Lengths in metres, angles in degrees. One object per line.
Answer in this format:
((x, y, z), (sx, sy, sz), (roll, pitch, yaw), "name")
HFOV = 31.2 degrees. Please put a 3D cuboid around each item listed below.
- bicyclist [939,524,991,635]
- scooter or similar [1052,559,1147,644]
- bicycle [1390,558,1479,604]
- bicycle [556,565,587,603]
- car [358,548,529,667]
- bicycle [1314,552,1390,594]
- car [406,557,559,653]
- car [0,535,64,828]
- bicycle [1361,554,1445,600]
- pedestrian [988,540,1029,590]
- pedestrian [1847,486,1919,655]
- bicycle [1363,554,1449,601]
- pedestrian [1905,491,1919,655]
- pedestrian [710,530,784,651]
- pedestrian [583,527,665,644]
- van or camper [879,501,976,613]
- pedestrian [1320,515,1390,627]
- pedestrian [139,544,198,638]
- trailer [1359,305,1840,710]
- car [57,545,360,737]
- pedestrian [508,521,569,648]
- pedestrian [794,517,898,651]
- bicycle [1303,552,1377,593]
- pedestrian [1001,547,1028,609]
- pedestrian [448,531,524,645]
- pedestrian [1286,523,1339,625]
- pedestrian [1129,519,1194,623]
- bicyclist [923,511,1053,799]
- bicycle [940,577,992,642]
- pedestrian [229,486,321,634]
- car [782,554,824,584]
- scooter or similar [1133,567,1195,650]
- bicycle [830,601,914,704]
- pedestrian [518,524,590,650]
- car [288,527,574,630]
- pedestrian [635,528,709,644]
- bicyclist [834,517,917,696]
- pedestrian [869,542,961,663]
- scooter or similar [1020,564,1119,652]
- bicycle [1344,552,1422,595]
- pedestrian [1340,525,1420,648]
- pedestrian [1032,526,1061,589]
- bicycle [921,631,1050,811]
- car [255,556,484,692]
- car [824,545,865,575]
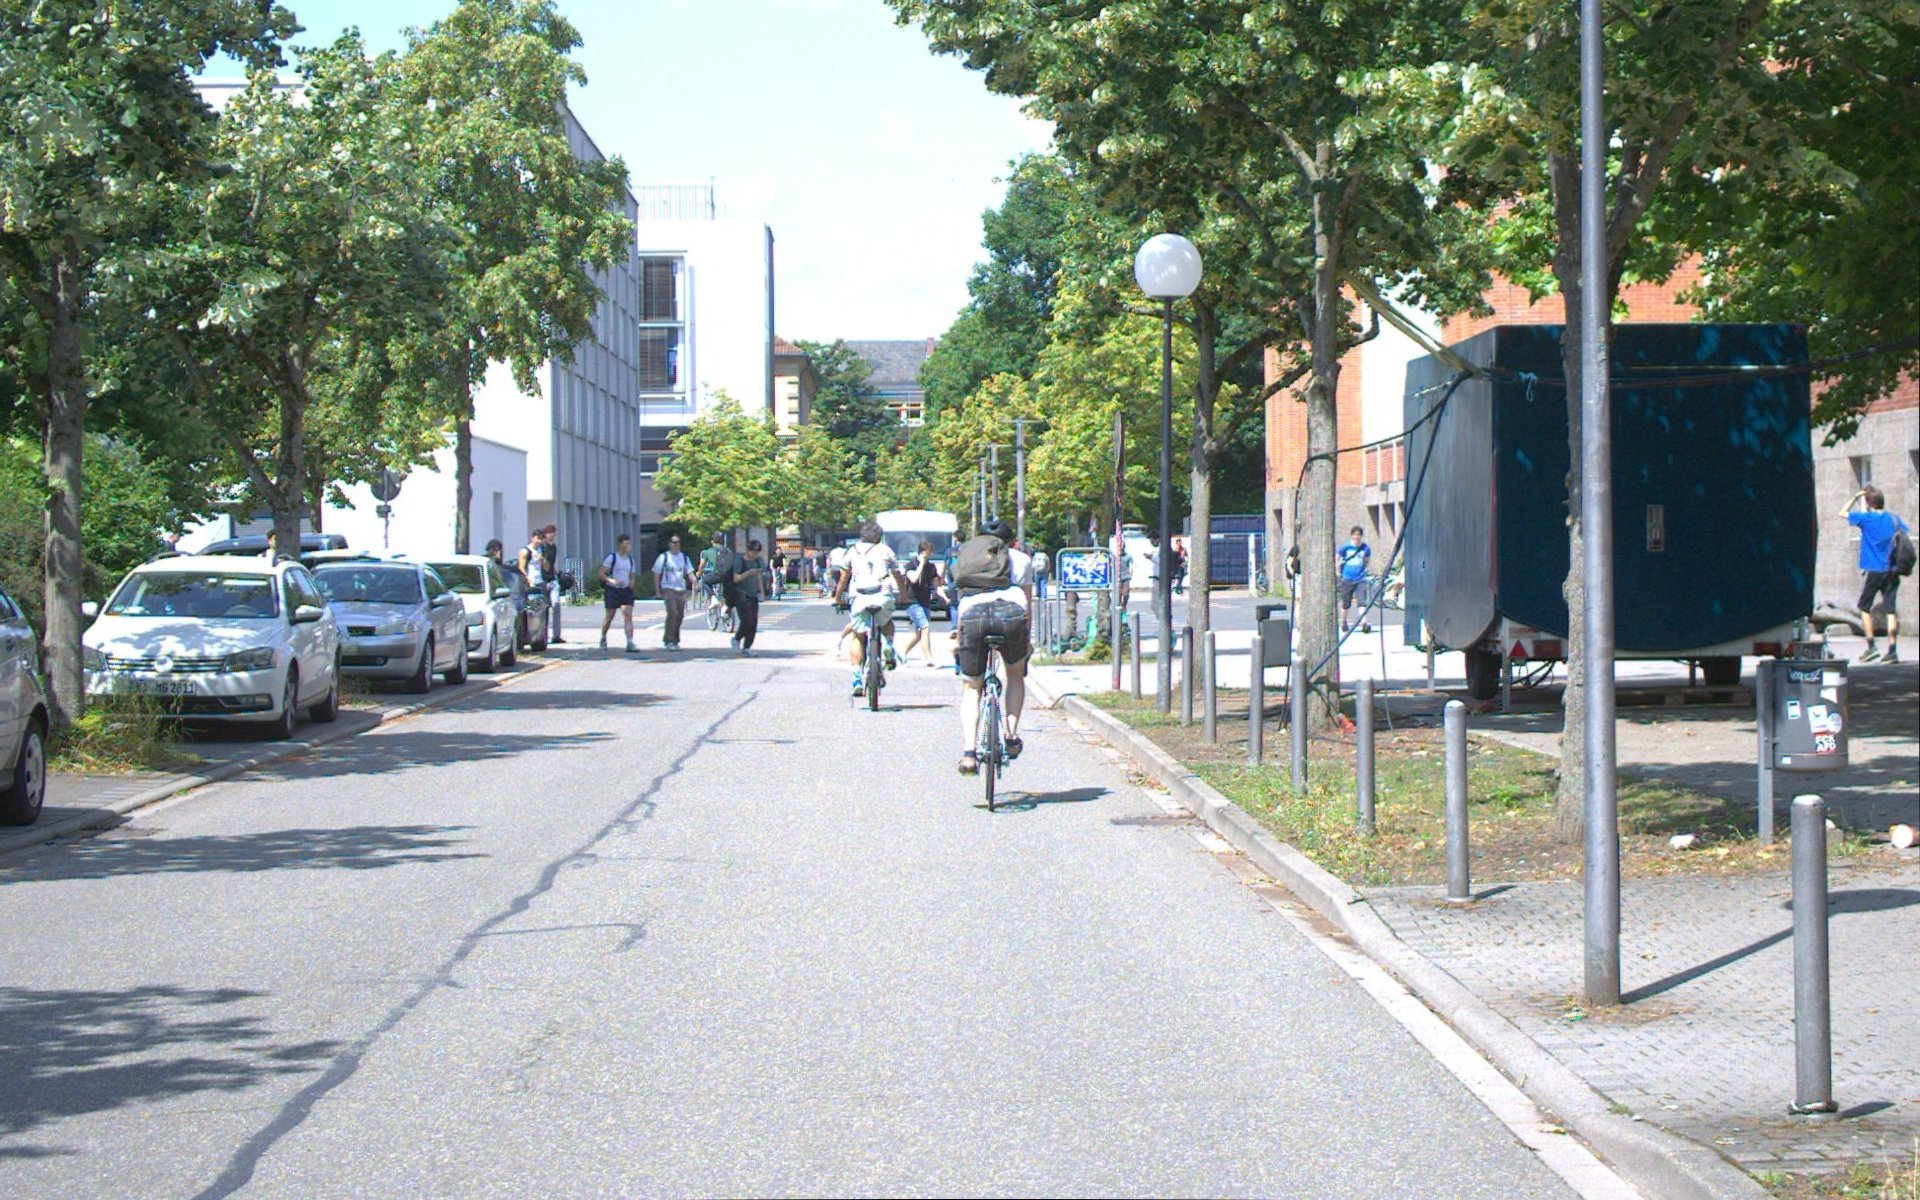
((0.083, -0.324, 54.492), (0.808, 1.750, 0.692), (0, 0, 0), "bicyclist")
((2.097, 0.024, 51.821), (1.263, 1.260, 0.638), (0, 1, 31), "scooter or similar")
((10.229, -0.415, 74.102), (1.809, 0.909, 0.560), (-2, 1, -1), "bicycle")
((-10.517, -0.436, 93.102), (0.523, 0.981, 1.632), (-2, 1, 3), "bicycle")
((-6.509, 0.064, 43.608), (1.662, 1.407, 3.807), (1, 1, -1), "car")
((9.908, -0.685, 86.926), (1.809, 0.981, 0.560), (-2, 1, -1), "bicycle")
((-6.877, 0.048, 49.809), (1.645, 1.296, 3.928), (-1, 1, 0), "car")
((-5.913, 0.420, 17.539), (1.757, 1.551, 4.114), (1, 1, -3), "car")
((10.026, -0.529, 77.822), (1.809, 0.981, 0.560), (-2, 1, -1), "bicycle")
((2.031, -1.485, 144.514), (1.499, 1.989, 1.646), (-4, 2, -2), "pedestrian")
((10.002, -0.322, 37.240), (0.594, 1.790, 0.407), (-3, 2, -4), "pedestrian")
((10.010, -0.514, 77.187), (1.809, 0.981, 0.560), (-2, 1, -1), "bicycle")
((10.767, -0.300, 37.551), (0.594, 1.790, 0.728), (-3, 2, -4), "pedestrian")
((-3.124, -0.145, 50.379), (0.701, 1.714, 0.994), (3, -1, -22), "pedestrian")
((-5.033, -0.220, 51.532), (0.983, 1.733, 0.699), (2, 1, 39), "pedestrian")
((-0.706, -0.962, 78.723), (1.993, 2.437, 4.569), (-1, 0, 2), "van or camper")
((6.508, -0.484, 56.691), (0.708, 1.781, 0.753), (-7, 4, -26), "pedestrian")
((-15.141, -0.172, 65.785), (0.982, 1.779, 0.669), (0, 0, -1), "pedestrian")
((5.298, -0.760, 29.632), (2.691, 3.041, 6.258), (-2, 1, -2), "trailer")
((-6.221, 0.295, 28.913), (1.725, 1.451, 4.584), (1, 1, -3), "car")
((-6.643, -0.241, 54.178), (0.616, 1.973, 0.829), (-1, -1, -32), "pedestrian")
((-1.618, -0.228, 48.966), (1.115, 1.853, 0.852), (-1, 2, 40), "pedestrian")
((9.772, -0.711, 88.459), (1.809, 0.981, 0.560), (-2, 1, -1), "bicycle")
((1.663, -0.684, 104.412), (0.790, 1.853, 1.026), (-1, 1, 0), "pedestrian")
((-7.519, -0.199, 54.571), (0.802, 1.766, 0.853), (4, 2, 24), "pedestrian")
((5.771, -0.426, 56.342), (0.501, 1.625, 0.571), (-7, 4, -26), "pedestrian")
((3.402, -0.496, 57.958), (0.959, 1.688, 0.704), (2, 3, 9), "pedestrian")
((0.175, 0.313, 20.478), (0.717, 1.656, 1.095), (1, 0, 2), "bicyclist")
((0.089, 0.143, 54.488), (0.808, 0.999, 2.124), (0, 0, 0), "bicycle")
((-8.430, -0.482, 42.289), (0.708, 1.710, 1.109), (6, -4, -25), "pedestrian")
((-8.301, -1.669, 181.751), (1.795, 1.525, 4.000), (-1, 1, 3), "car")
((2.939, 0.115, 49.463), (0.649, 1.156, 1.264), (-1, 1, 15), "scooter or similar")
((-0.865, 0.519, 34.386), (0.808, 0.999, 2.124), (0, -1, -1), "bicycle")
((-6.519, -0.218, 55.219), (0.827, 1.973, 0.691), (4, 2, 24), "pedestrian")
((-9.268, -0.369, 60.343), (4.509, 1.613, 1.923), (2, 0, 15), "car")
((-4.367, -0.221, 52.147), (0.908, 1.733, 0.677), (1, 1, 37), "pedestrian")
((-0.843, 0.057, 34.509), (0.771, 1.750, 0.848), (2, 1, -1), "bicyclist")
((-0.608, 0.032, 46.442), (0.848, 1.589, 0.830), (-3, 2, -44), "pedestrian")
((1.595, 0.119, 50.171), (1.263, 1.260, 0.649), (0, 1, 31), "scooter or similar")
((10.387, -0.657, 84.394), (1.809, 0.981, 0.560), (-2, 1, -1), "bicycle")
((5.852, -0.201, 47.906), (0.875, 1.632, 0.949), (-4, 1, 0), "pedestrian")
((2.573, -1.259, 102.544), (0.790, 1.853, 1.026), (-1, 1, 0), "pedestrian")
((0.172, 0.699, 20.636), (0.706, 0.990, 1.910), (-1, 0, 2), "bicycle")
((-6.364, 0.222, 37.454), (1.725, 1.339, 4.165), (1, 1, 1), "car")
((-6.065, -2.140, 181.470), (1.795, 1.525, 4.000), (-1, 1, 3), "car")
